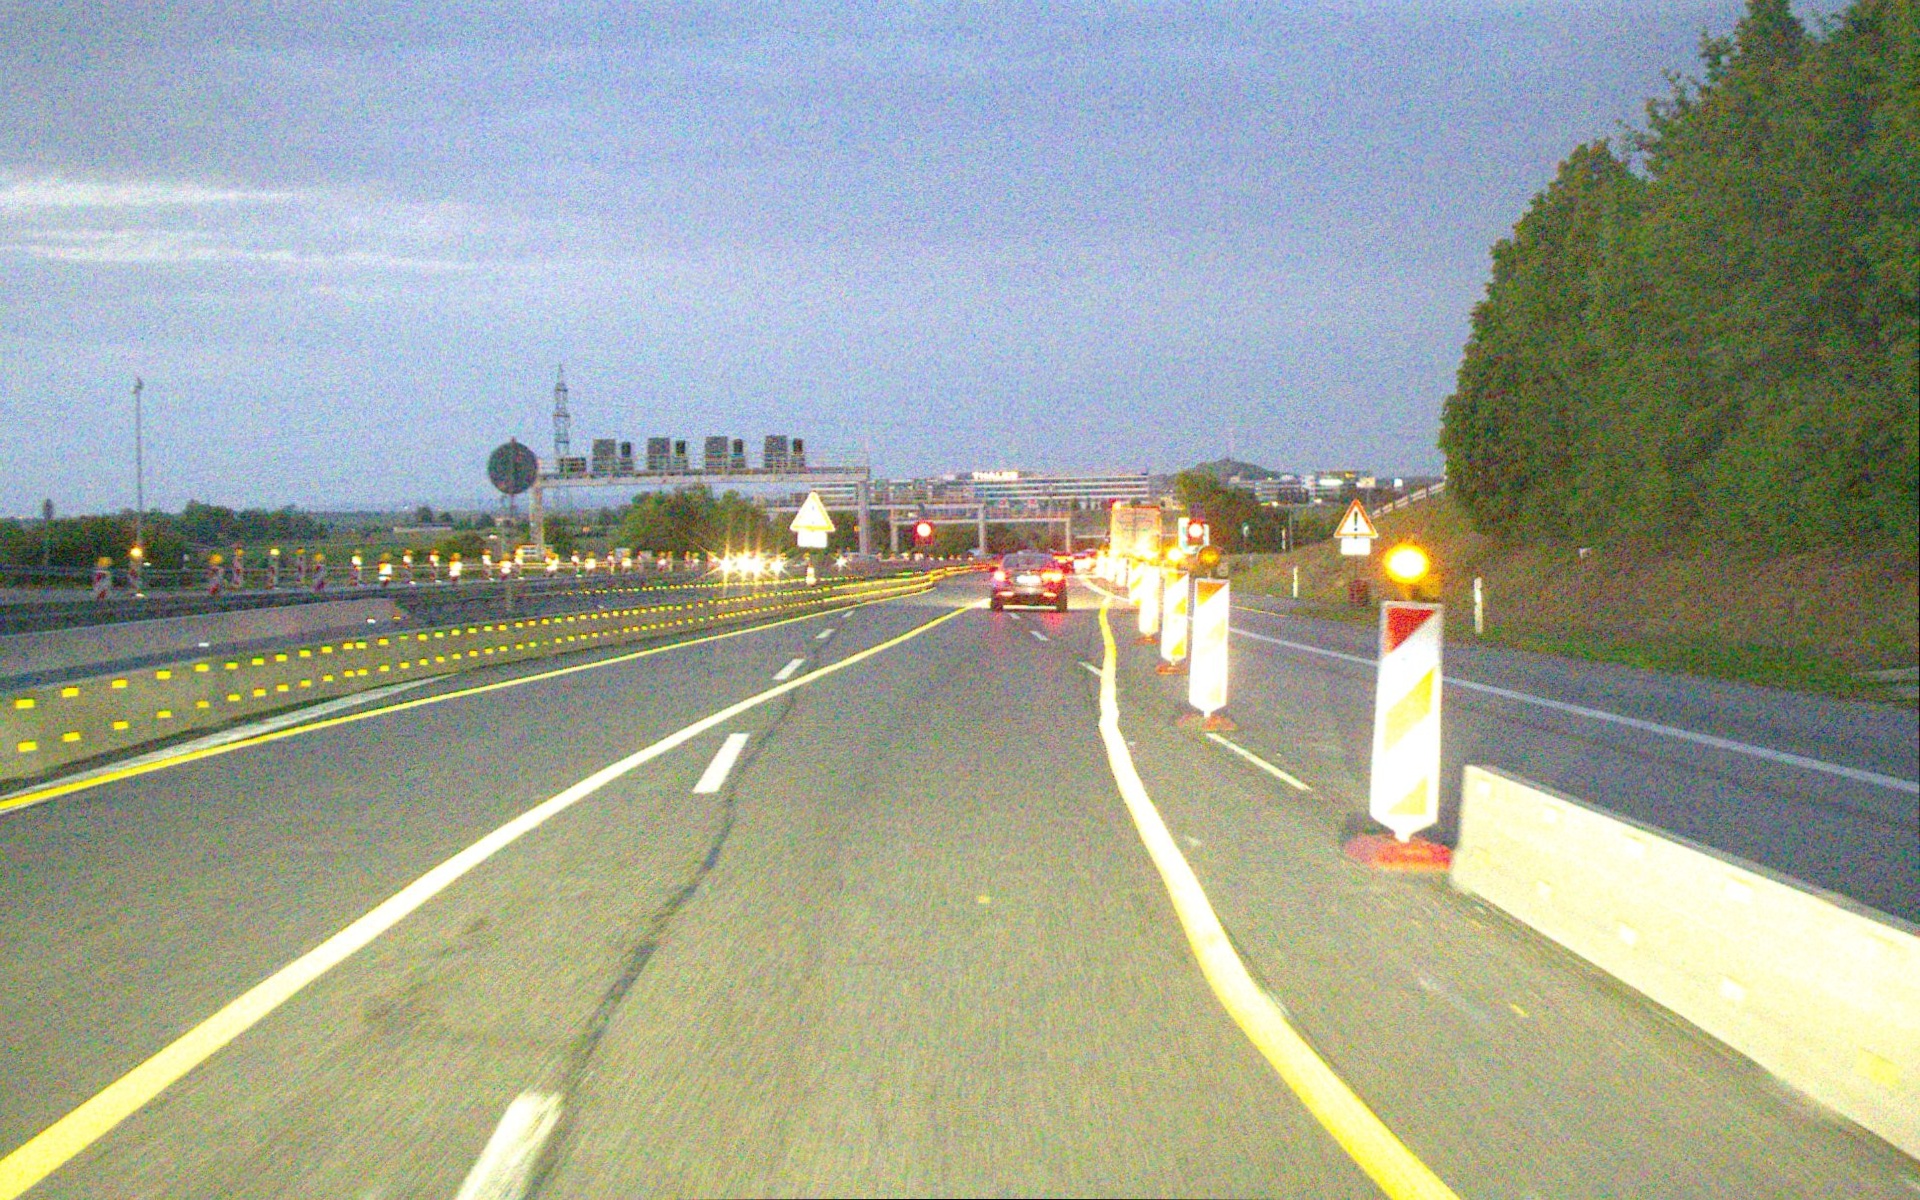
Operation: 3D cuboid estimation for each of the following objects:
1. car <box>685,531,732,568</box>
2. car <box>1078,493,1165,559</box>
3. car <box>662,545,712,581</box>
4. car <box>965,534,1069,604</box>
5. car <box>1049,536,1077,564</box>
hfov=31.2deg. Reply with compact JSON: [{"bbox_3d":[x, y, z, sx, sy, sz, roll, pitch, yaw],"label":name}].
[{"bbox_3d":[-12.873,-2.598,176.065,1.993,1.821,4.000,1,1,2],"label":"car"},{"bbox_3d":[8.736,-4.002,186.885,3.604,3.384,8.016,1,1,-5],"label":"car"},{"bbox_3d":[-13.380,-1.833,168.923,1.993,1.708,4.000,1,1,2],"label":"car"},{"bbox_3d":[1.371,-0.776,84.209,2.265,1.616,4.001,1,1,-3],"label":"car"},{"bbox_3d":[7.732,-3.761,258.704,1.993,2.007,4.000,1,1,1],"label":"car"}]
